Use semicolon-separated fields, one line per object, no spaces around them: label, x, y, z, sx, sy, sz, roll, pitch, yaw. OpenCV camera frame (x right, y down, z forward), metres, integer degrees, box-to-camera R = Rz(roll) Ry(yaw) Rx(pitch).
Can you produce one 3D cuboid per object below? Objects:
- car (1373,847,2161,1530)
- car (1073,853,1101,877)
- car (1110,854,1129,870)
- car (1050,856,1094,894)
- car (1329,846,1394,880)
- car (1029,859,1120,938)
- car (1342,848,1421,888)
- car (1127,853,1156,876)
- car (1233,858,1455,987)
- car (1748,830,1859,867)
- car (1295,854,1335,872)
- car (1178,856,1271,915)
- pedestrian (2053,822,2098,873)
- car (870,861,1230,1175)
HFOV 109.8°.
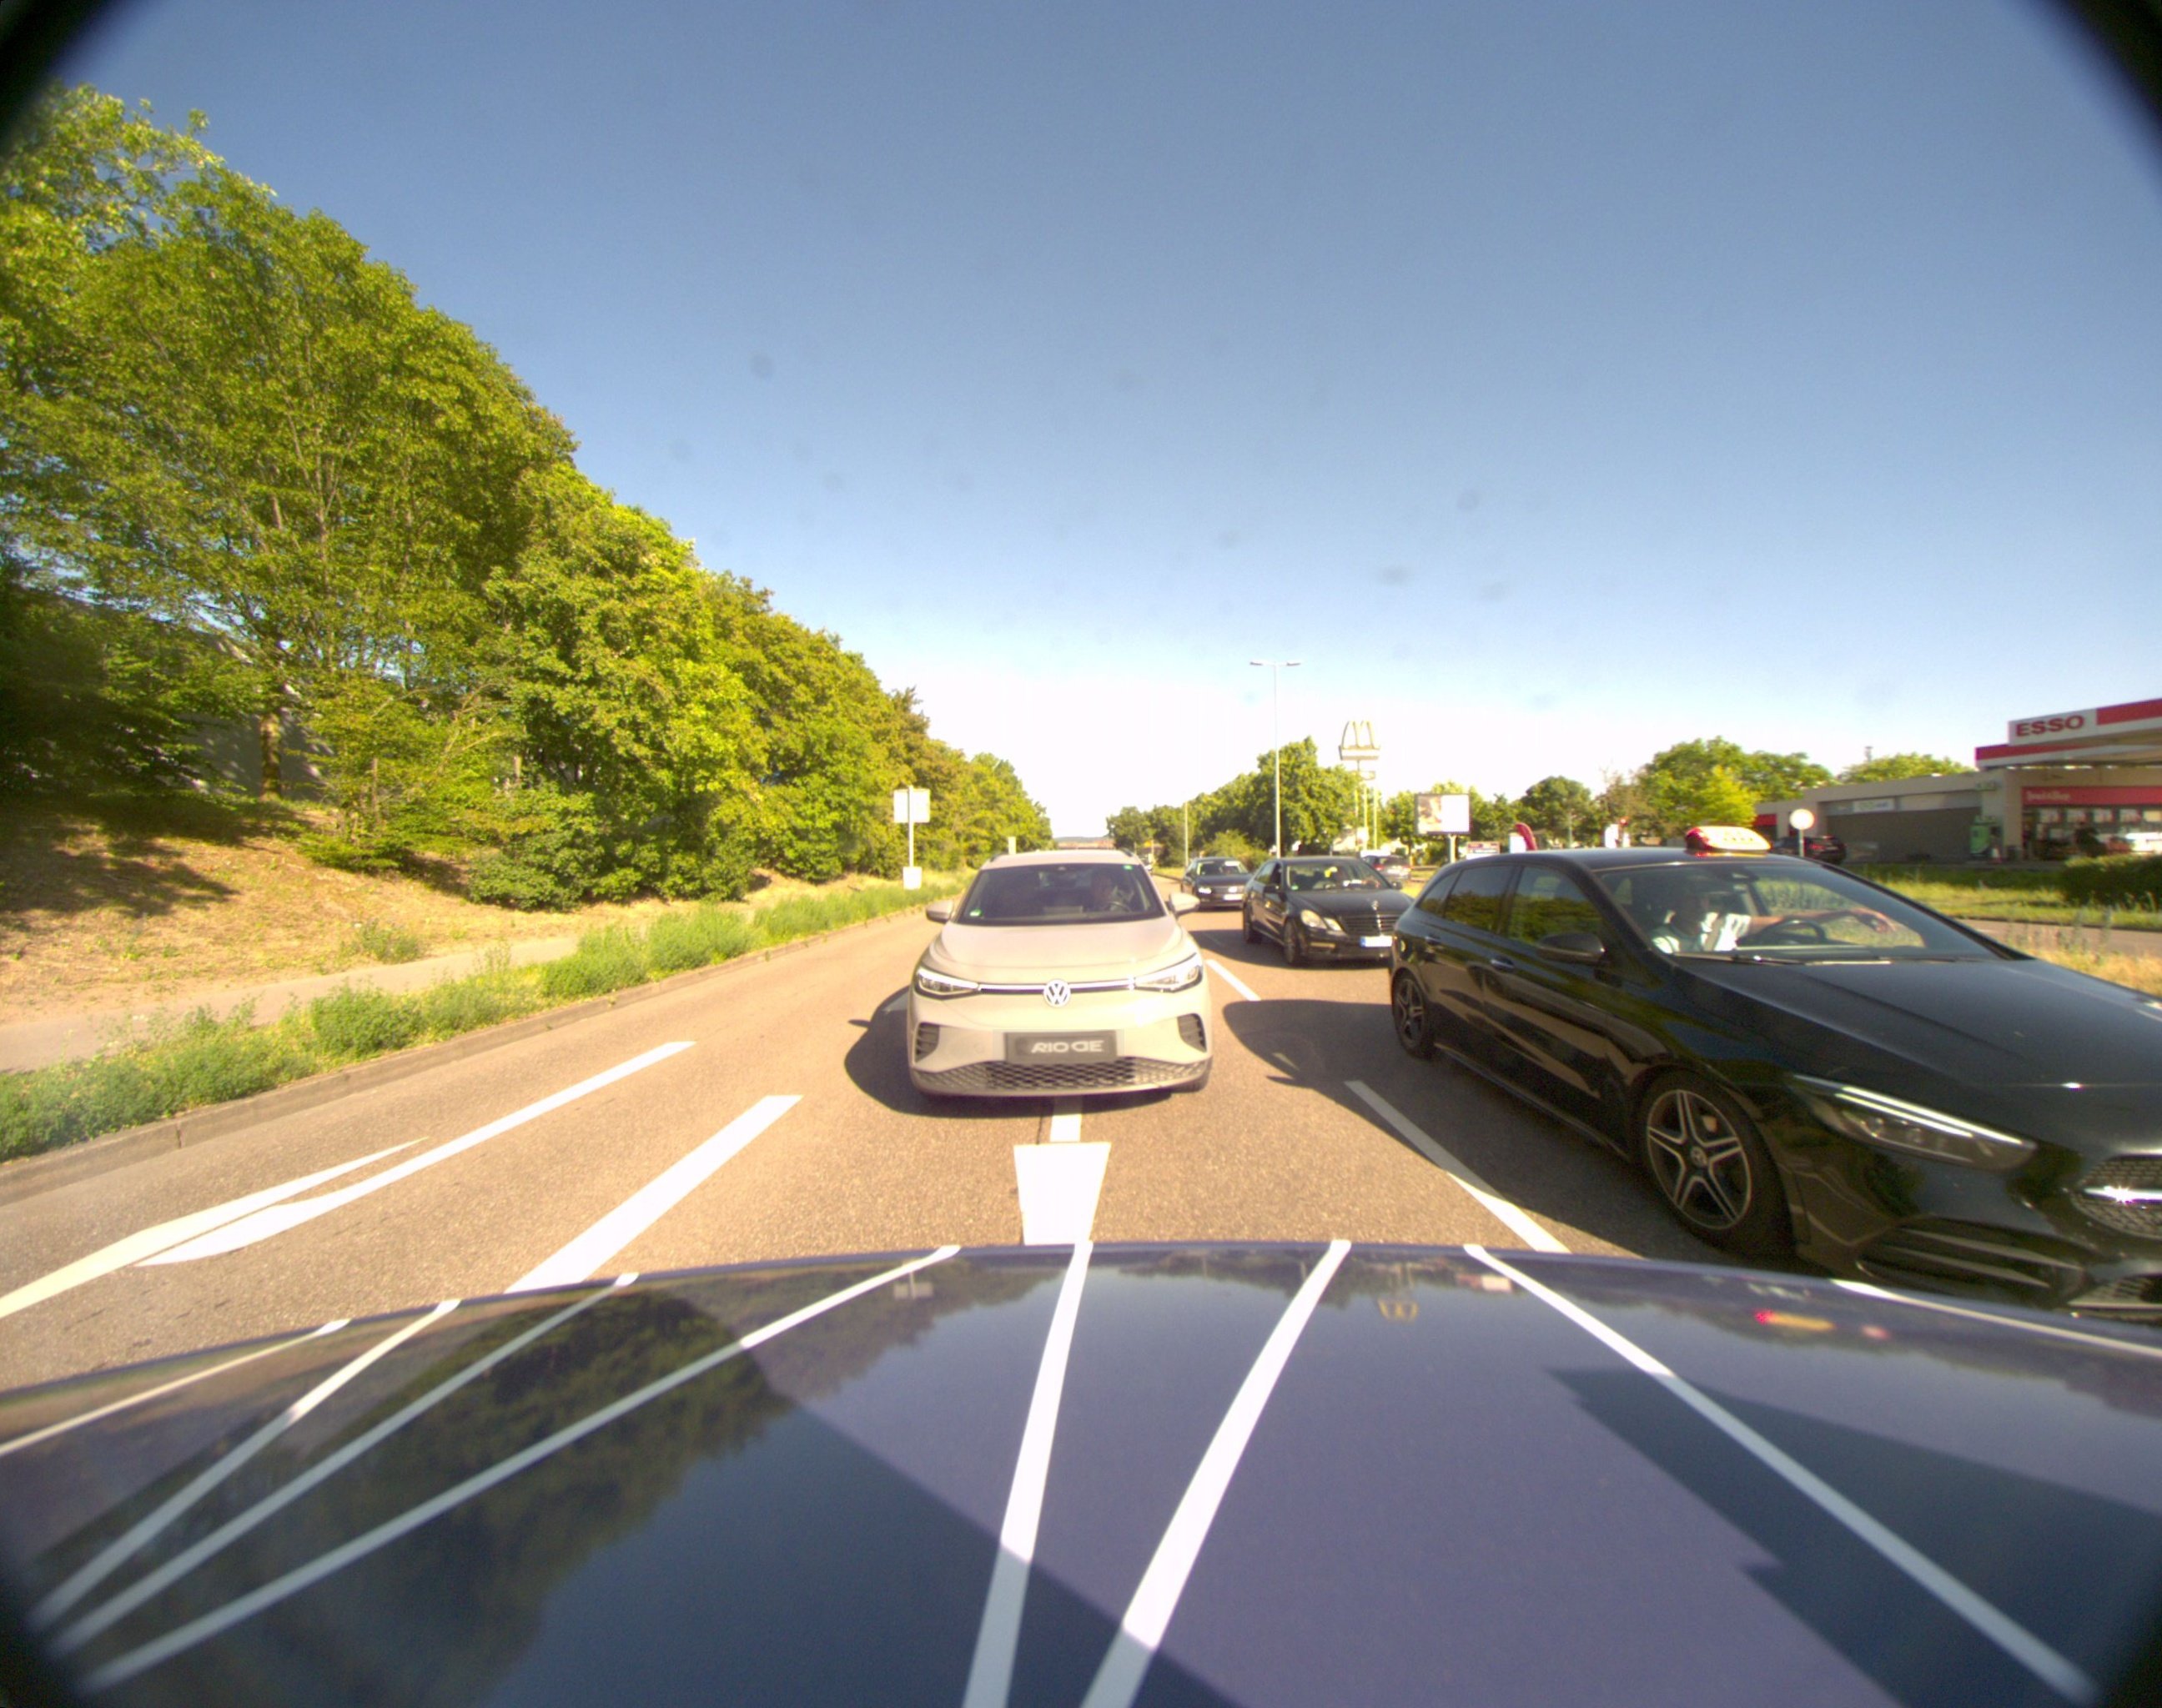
car;3.163;0.802;3.894;1.804;1.616;4.188;-1;0;2
car;0.435;0.723;51.142;1.765;1.503;3.760;-2;0;1
car;4.184;0.856;82.461;1.862;1.578;4.403;-1;0;1
car;-0.344;0.879;33.245;1.765;1.503;3.760;-2;0;1
car;17.440;0.520;47.538;1.999;2.002;5.024;0;0;-3
car;-0.111;0.892;16.971;1.765;1.503;3.760;-2;0;1
car;13.666;0.607;34.837;1.884;1.680;4.436;-1;0;0
car;4.447;0.755;56.462;1.862;1.578;4.403;-1;0;1
car;3.648;0.842;11.468;1.862;1.515;4.403;-1;0;1
car;37.703;-0.285;39.817;1.998;1.759;4.118;-2;0;2
car;19.812;0.739;64.471;1.908;1.437;4.607;1;0;0
car;3.966;0.820;21.753;1.862;1.472;4.403;-1;0;1
pedestrian;39.871;-0.246;30.480;0.703;2.002;0.840;-1;0;1
car;-0.138;0.894;6.005;1.871;1.588;3.932;-2;0;1
